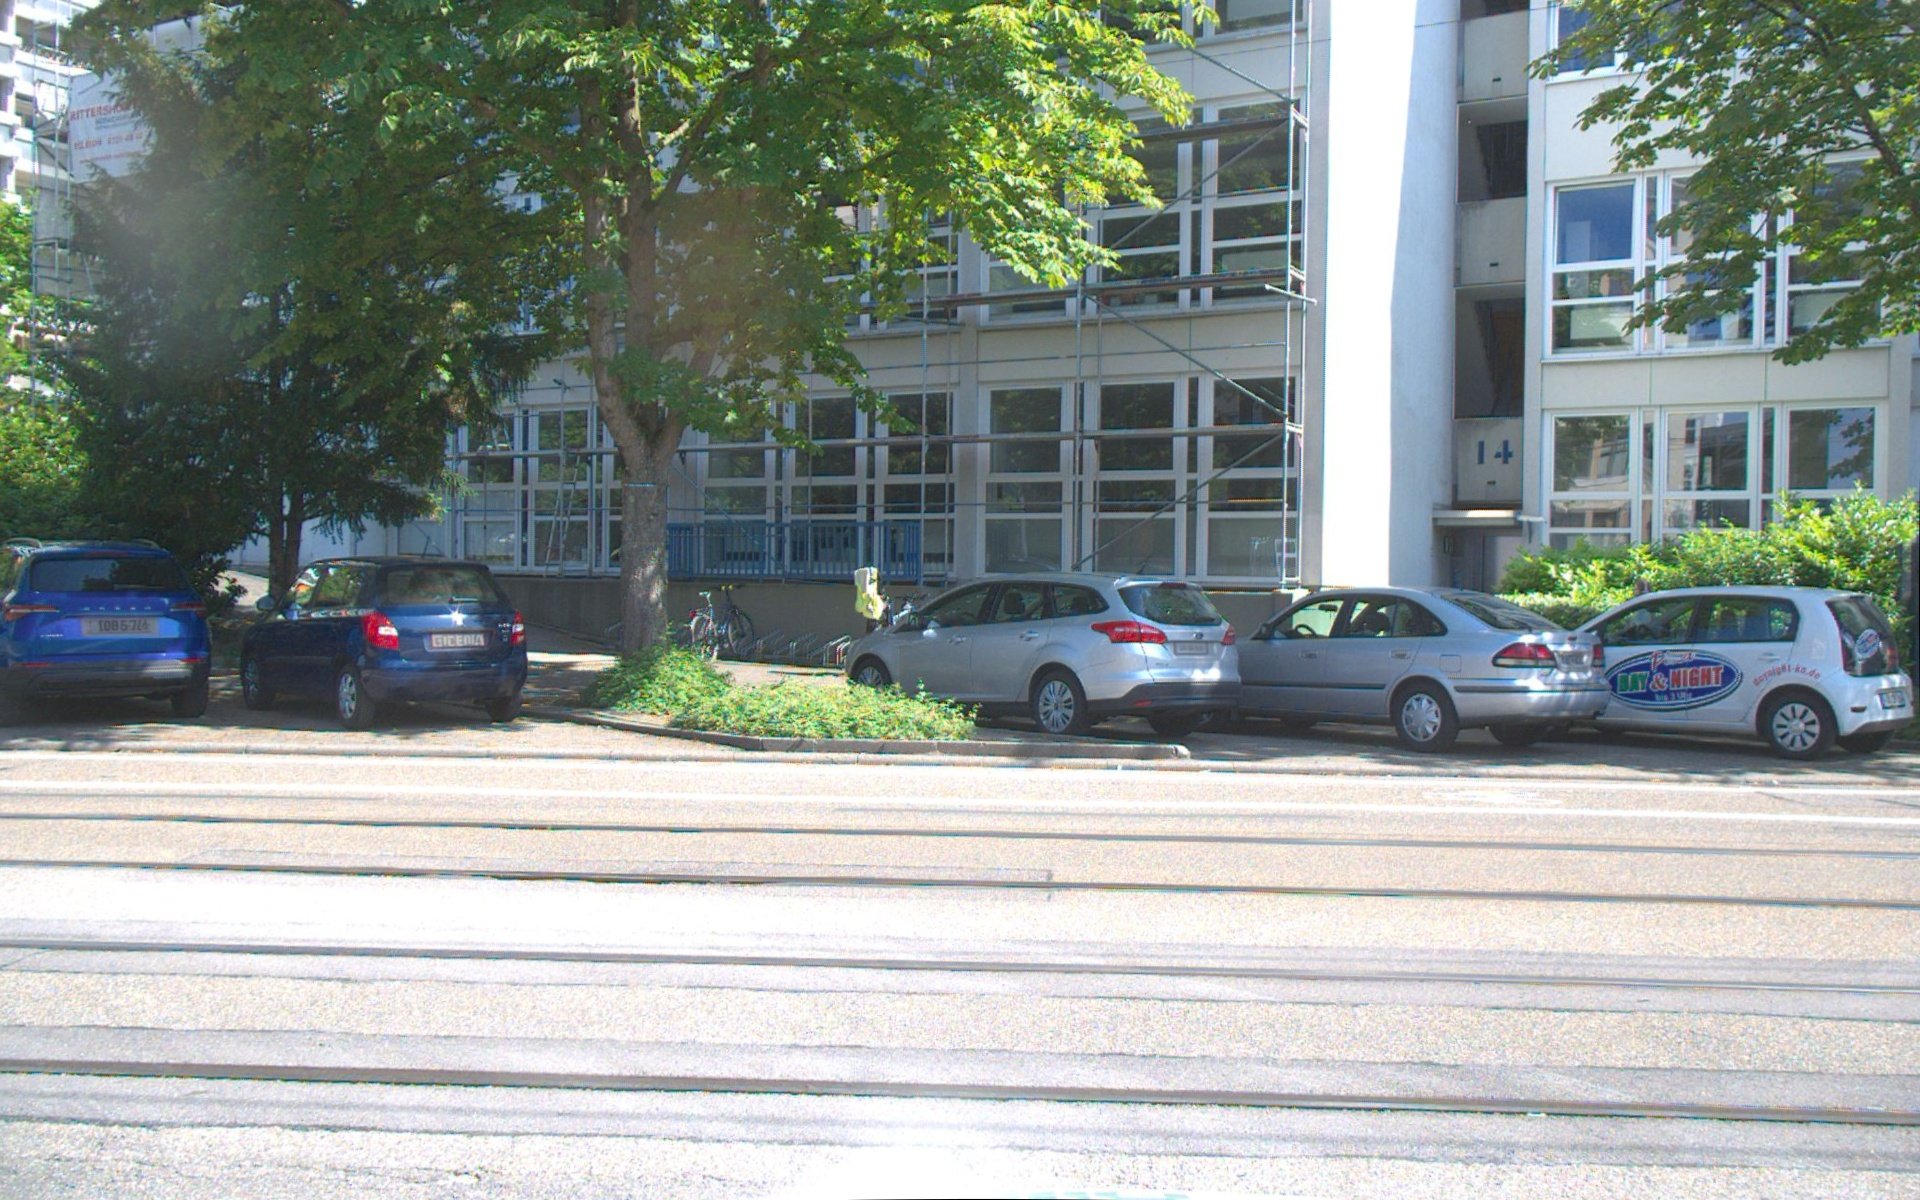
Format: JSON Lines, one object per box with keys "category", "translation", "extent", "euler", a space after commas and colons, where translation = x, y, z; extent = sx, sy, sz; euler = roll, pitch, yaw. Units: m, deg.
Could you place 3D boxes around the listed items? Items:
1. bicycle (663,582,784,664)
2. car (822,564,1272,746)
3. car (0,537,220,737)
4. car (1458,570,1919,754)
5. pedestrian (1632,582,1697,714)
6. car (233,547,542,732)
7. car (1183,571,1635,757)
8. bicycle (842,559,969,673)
{"category": "bicycle", "translation": [-3.342, 0.302, 23.565], "extent": [0.726, 1.105, 2.203], "euler": [1, 0, 21]}
{"category": "car", "translation": [0.701, 0.436, 15.950], "extent": [1.770, 1.512, 4.367], "euler": [0, 0, -42]}
{"category": "car", "translation": [-8.515, 0.239, 15.842], "extent": [1.762, 1.650, 3.892], "euler": [-1, 2, -38]}
{"category": "car", "translation": [6.841, 0.525, 15.583], "extent": [1.599, 1.512, 3.886], "euler": [0, -1, -41]}
{"category": "pedestrian", "translation": [8.081, 0.543, 18.977], "extent": [0.607, 1.486, 0.424], "euler": [0, 0, 11]}
{"category": "car", "translation": [-5.509, 0.312, 15.717], "extent": [1.563, 1.558, 3.404], "euler": [0, 0, -42]}
{"category": "car", "translation": [4.068, 0.503, 15.471], "extent": [1.598, 1.512, 3.888], "euler": [1, 0, -40]}
{"category": "bicycle", "translation": [-0.715, 0.205, 22.524], "extent": [0.649, 1.479, 2.084], "euler": [1, 0, 33]}
